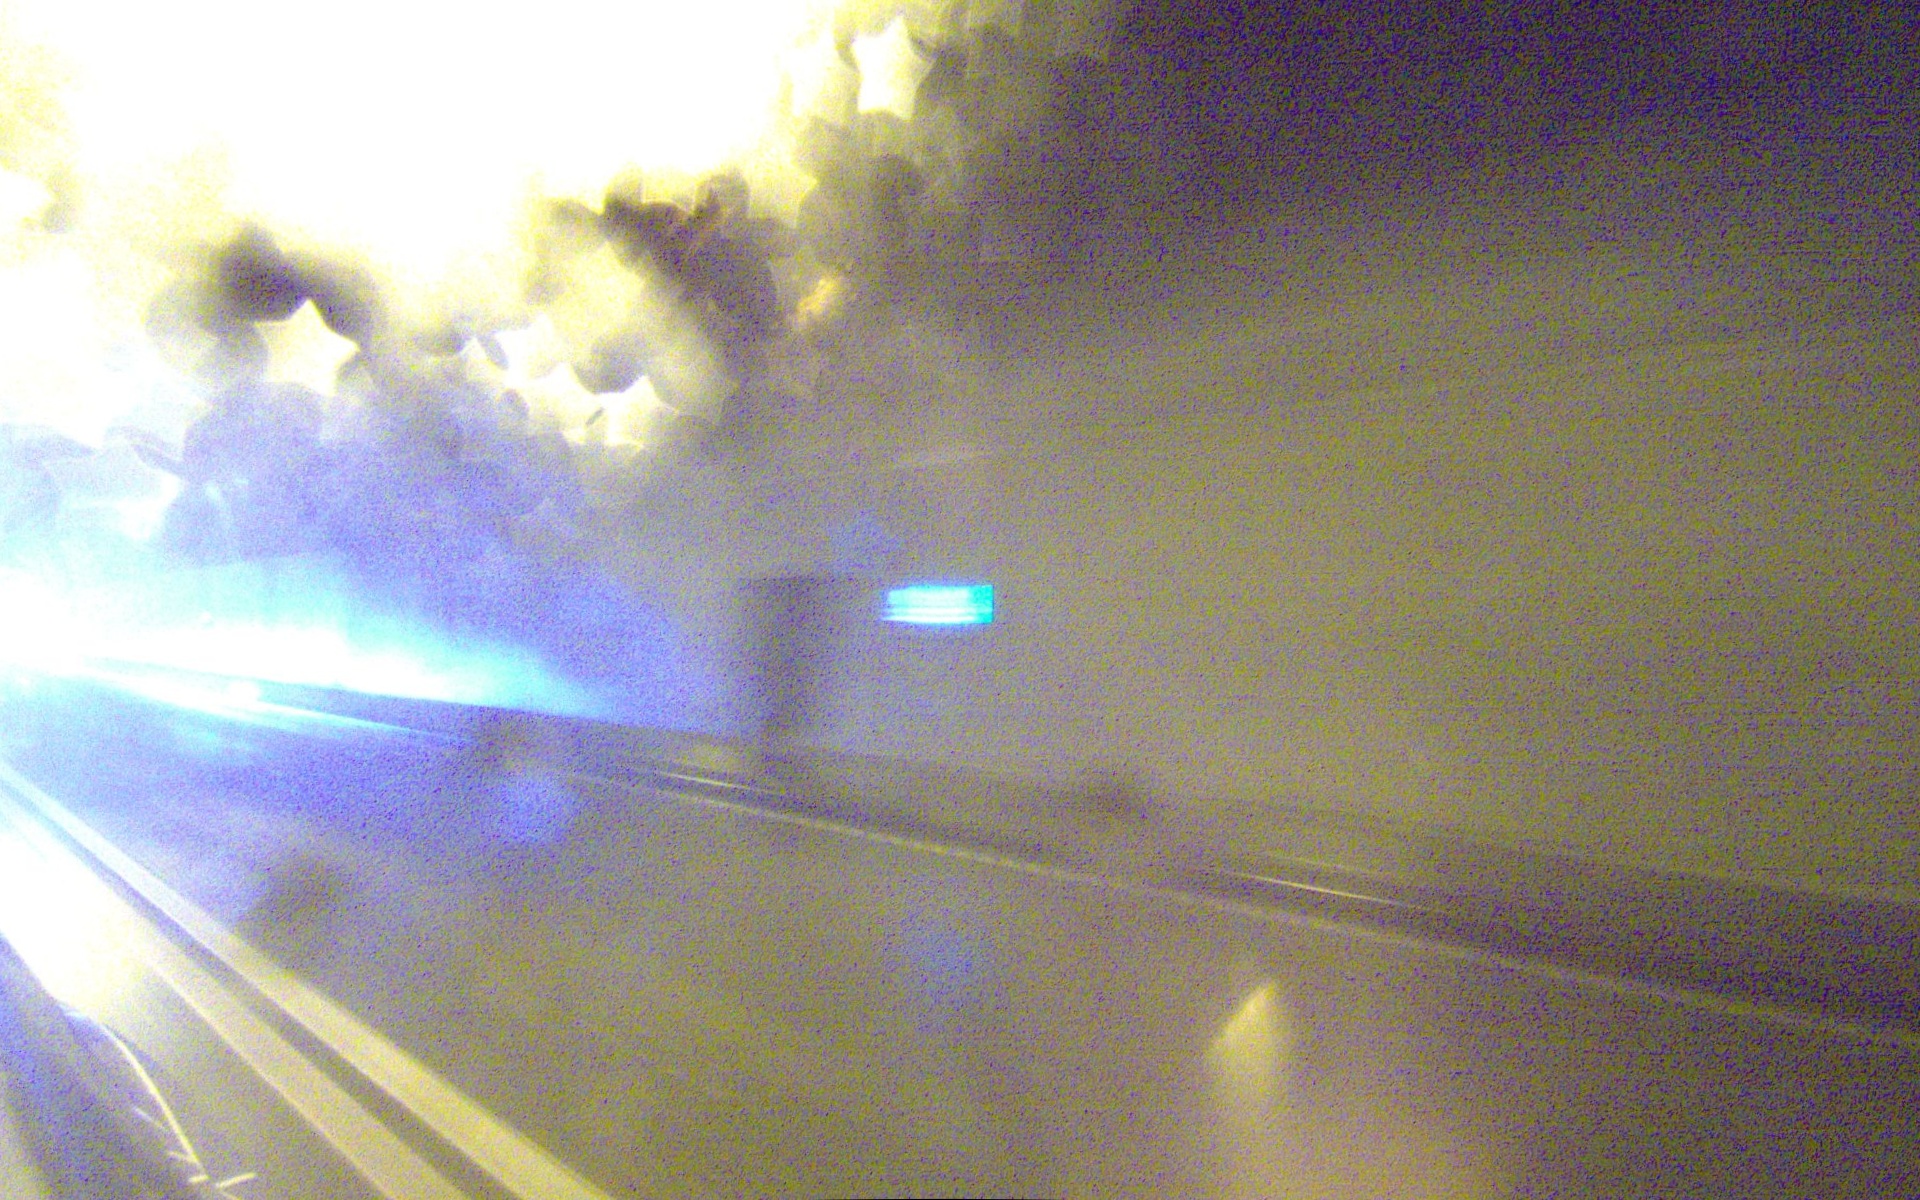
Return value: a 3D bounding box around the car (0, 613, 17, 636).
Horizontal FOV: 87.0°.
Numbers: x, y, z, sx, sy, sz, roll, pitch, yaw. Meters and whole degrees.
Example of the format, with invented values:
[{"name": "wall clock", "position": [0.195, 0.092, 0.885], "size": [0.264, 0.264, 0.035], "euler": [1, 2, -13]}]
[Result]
[{"name": "car", "position": [-71.827, 1.832, 75.514], "size": [4.002, 1.597, 1.971], "euler": [0, 1, 44]}]
